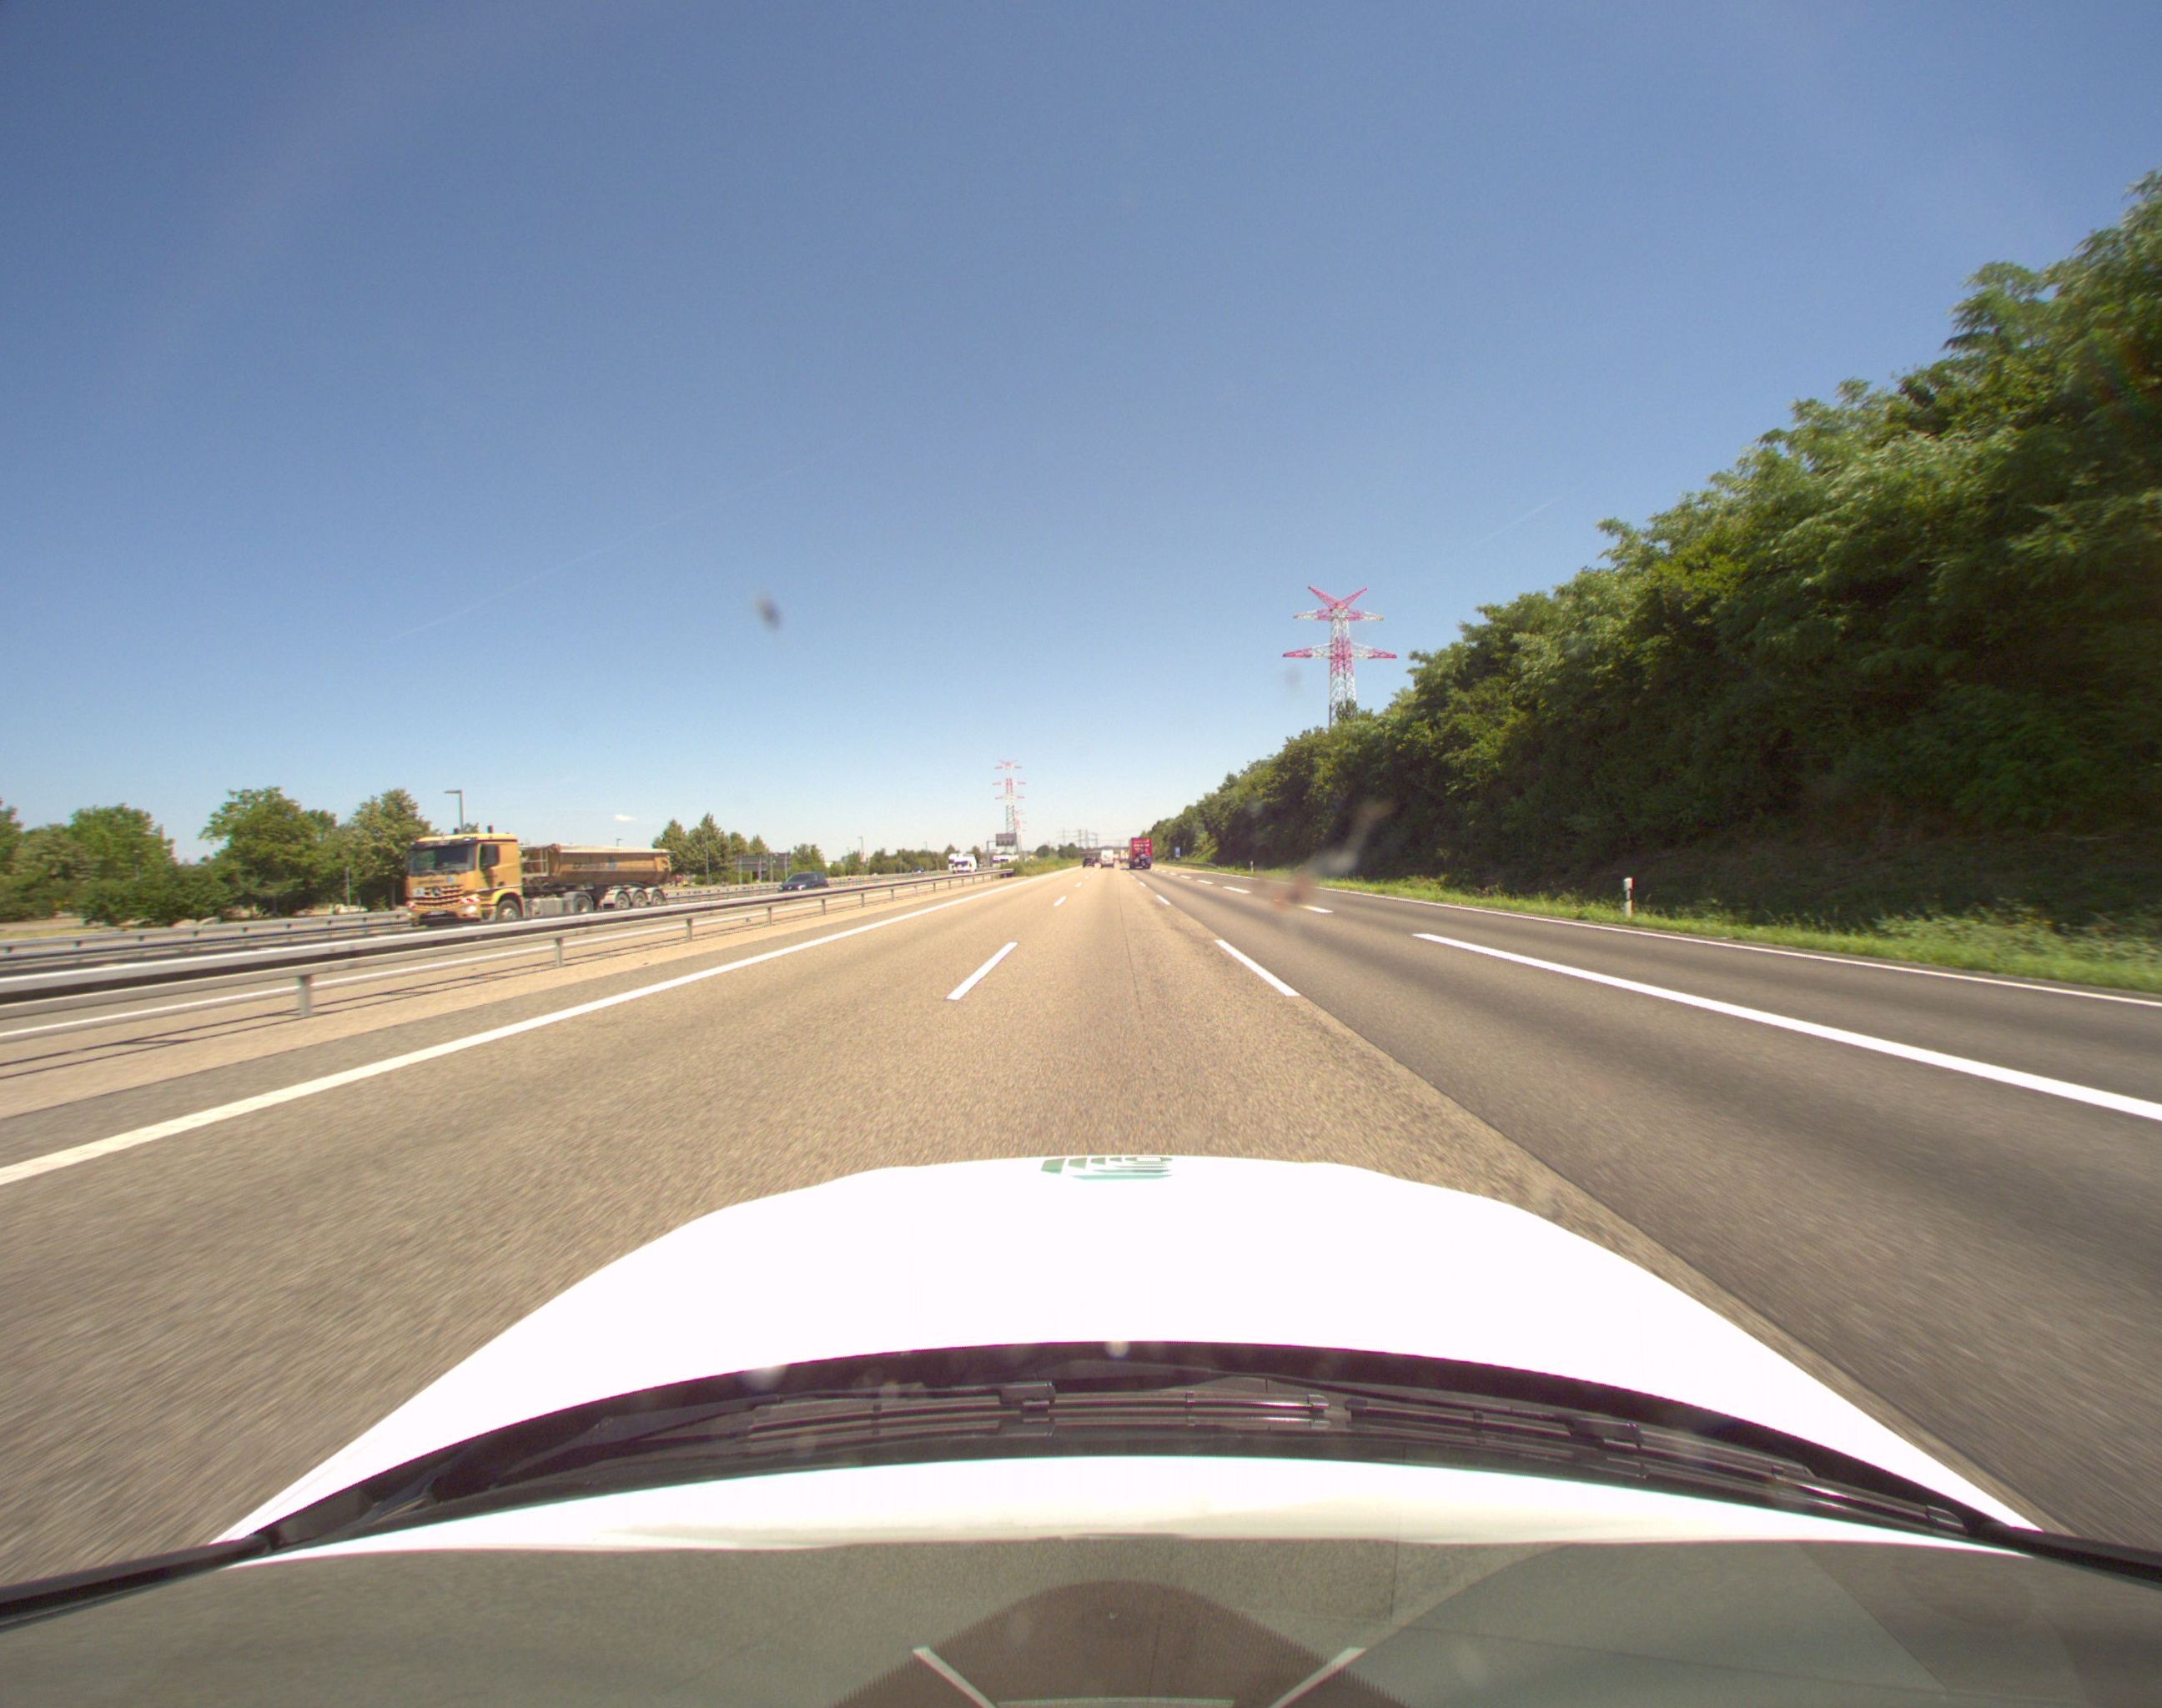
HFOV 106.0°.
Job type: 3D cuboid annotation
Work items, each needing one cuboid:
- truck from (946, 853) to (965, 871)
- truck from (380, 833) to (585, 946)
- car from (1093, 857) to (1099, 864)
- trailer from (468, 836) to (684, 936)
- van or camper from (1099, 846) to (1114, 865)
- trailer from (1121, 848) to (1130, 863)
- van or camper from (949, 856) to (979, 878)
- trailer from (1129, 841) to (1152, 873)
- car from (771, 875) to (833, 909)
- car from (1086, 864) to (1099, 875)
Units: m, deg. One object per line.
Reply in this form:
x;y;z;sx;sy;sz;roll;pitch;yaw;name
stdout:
-25.989;1.661;168.935;2.788;3.643;6.149;0;-1;2;truck
-20.361;1.129;28.187;2.772;3.515;5.647;0;-1;2;truck
4.614;2.011;249.467;1.964;2.012;4.199;0;-1;2;car
-20.191;1.171;33.554;2.772;3.515;9.374;0;-1;2;trailer
3.930;0.262;125.250;2.221;2.782;5.426;0;-1;2;van or camper
12.865;0.409;234.378;2.626;4.060;12.376;0;0;3;trailer
-14.497;1.588;101.197;2.409;2.582;6.369;-3;-1;2;van or camper
7.859;0.438;109.085;2.481;3.909;14.252;-1;-1;2;trailer
-15.310;2.043;44.905;1.739;1.714;4.486;0;-1;2;car
1.985;2.622;141.213;1.973;1.817;3.817;0;-1;4;car
